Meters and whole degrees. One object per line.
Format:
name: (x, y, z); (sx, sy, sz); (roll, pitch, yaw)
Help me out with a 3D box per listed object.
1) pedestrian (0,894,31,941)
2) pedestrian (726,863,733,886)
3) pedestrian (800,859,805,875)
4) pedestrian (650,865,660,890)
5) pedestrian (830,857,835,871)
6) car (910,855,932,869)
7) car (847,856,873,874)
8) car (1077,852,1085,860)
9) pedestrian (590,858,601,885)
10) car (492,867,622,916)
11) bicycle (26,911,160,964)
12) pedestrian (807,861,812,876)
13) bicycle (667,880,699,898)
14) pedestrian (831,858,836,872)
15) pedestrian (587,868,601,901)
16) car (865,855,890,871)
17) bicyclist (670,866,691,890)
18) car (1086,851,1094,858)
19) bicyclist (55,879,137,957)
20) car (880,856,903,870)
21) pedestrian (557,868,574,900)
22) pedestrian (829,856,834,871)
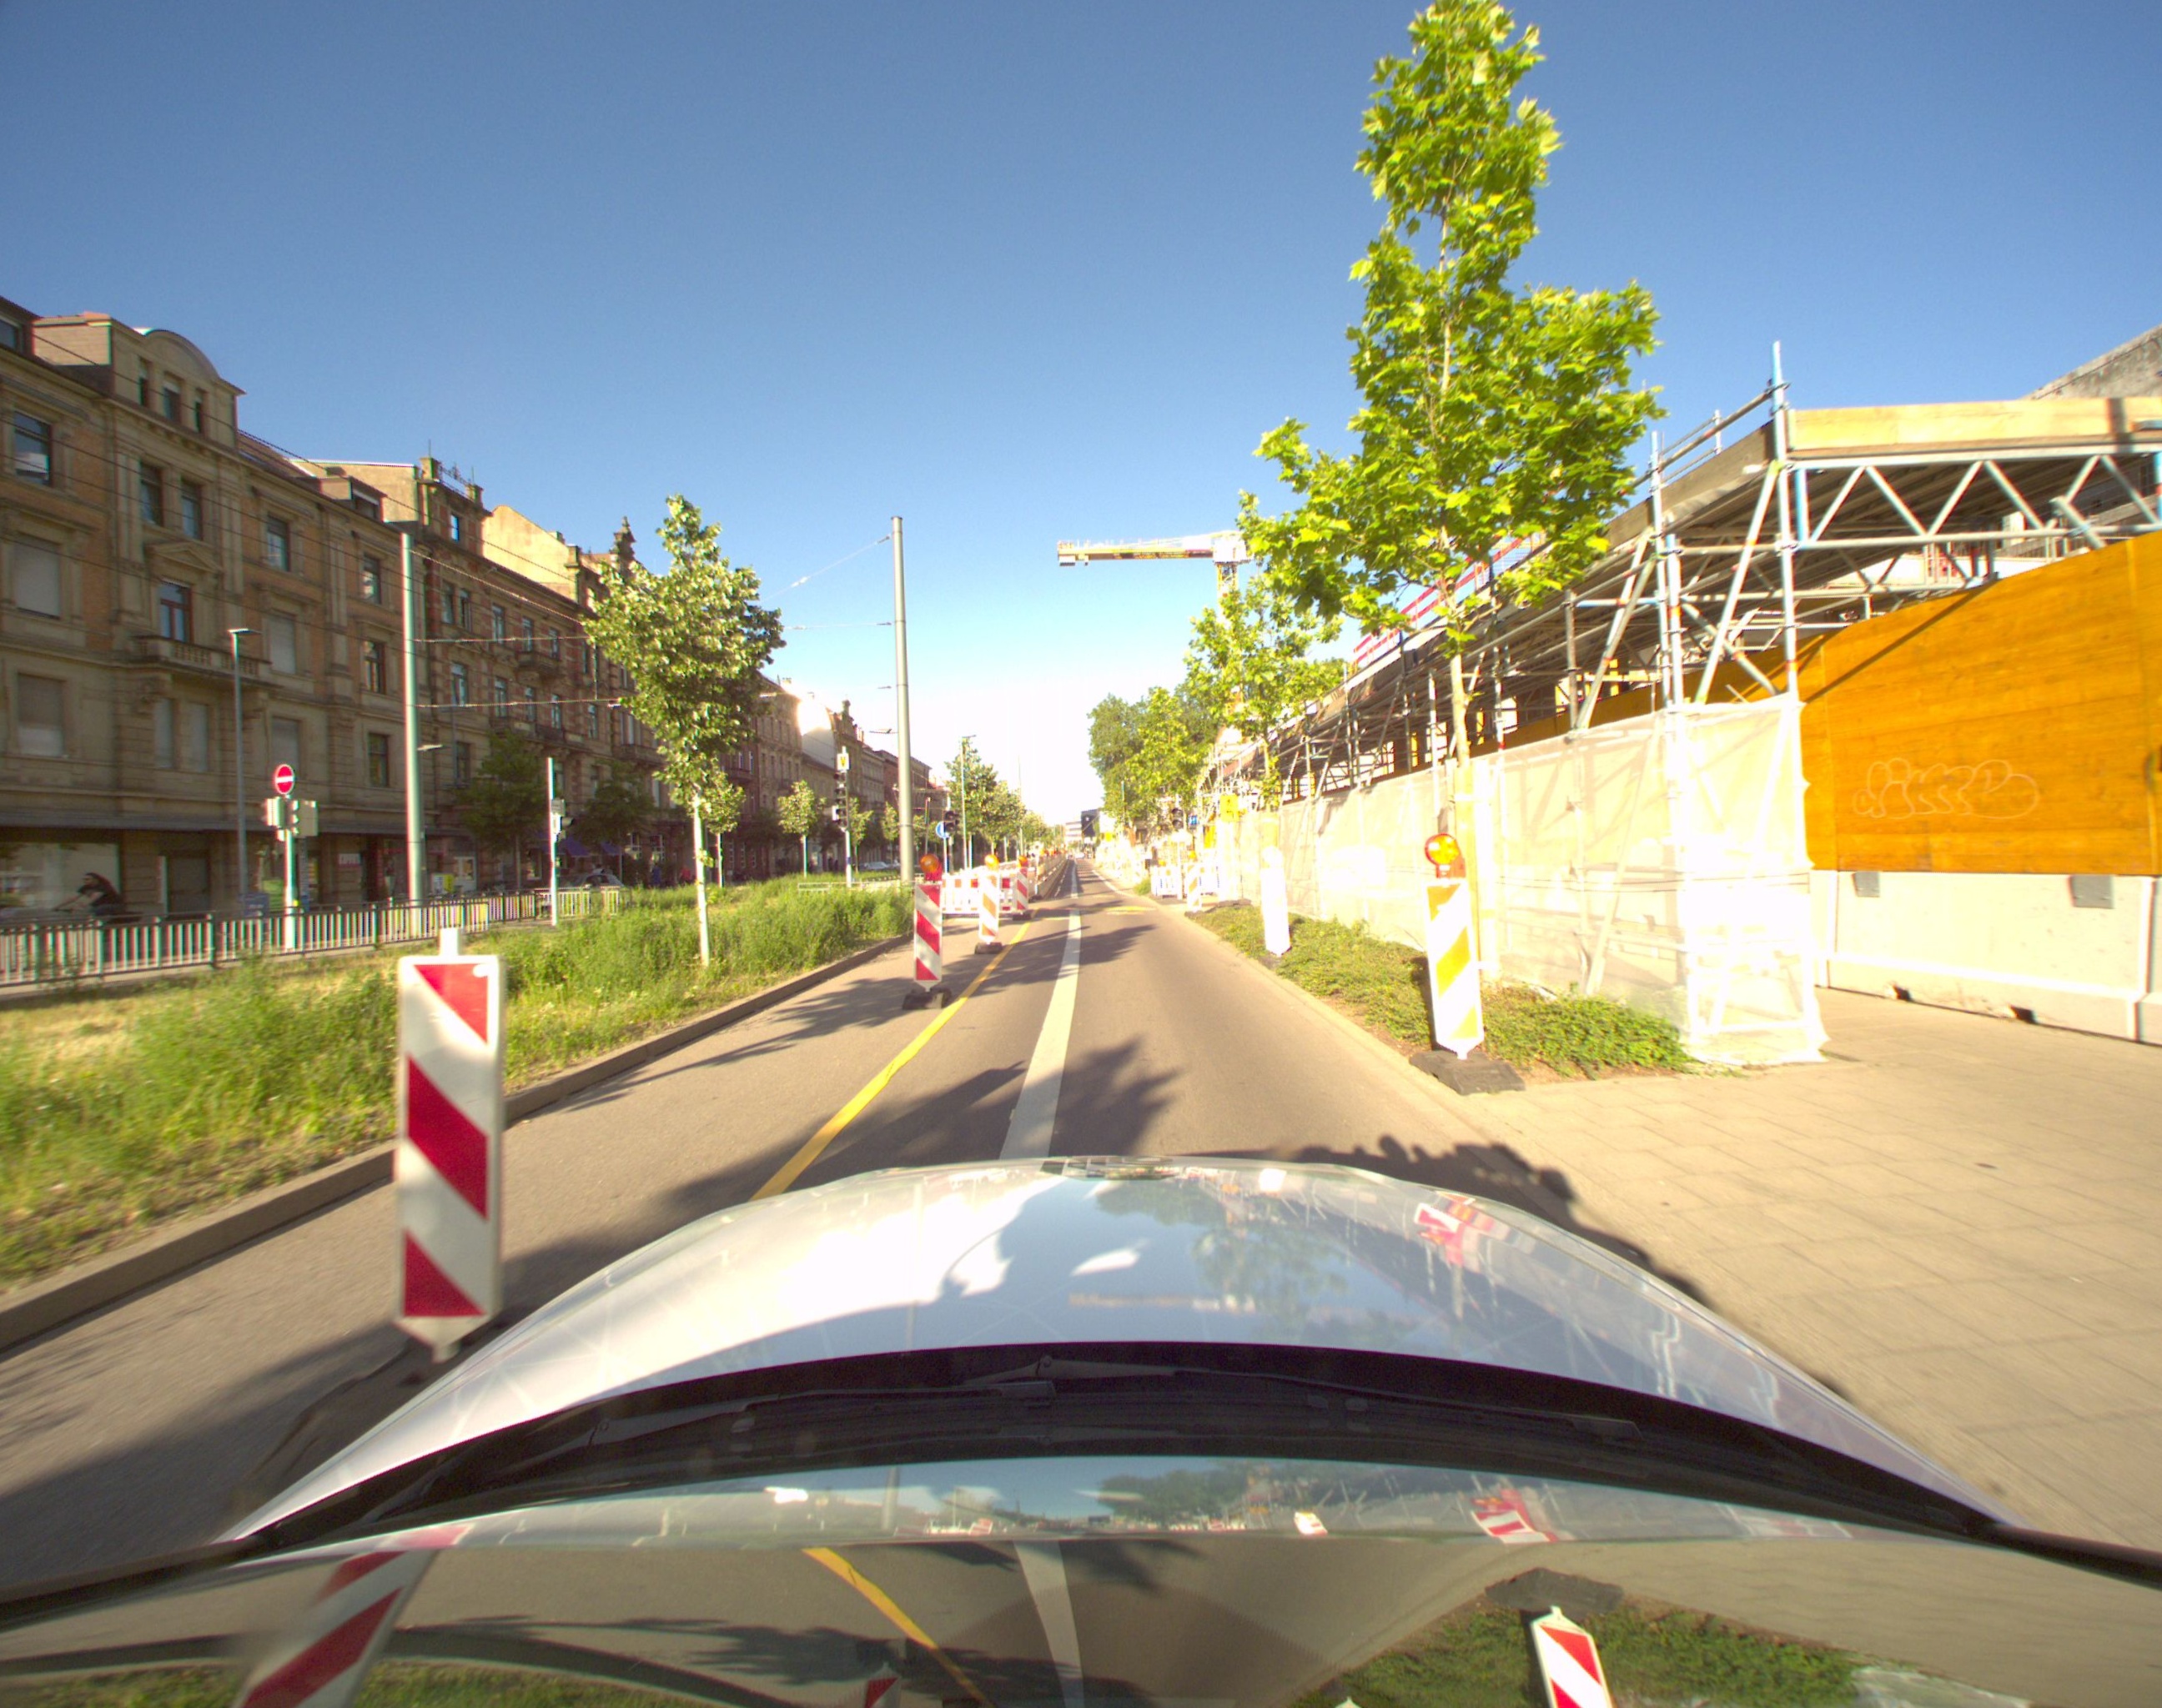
pedestrian: (-28.719, 1.699, 21.520); (0.688, 1.208, 0.929); (-2, 0, 1)
pedestrian: (-27.034, 1.593, 62.586); (0.365, 1.764, 0.406); (0, 0, -1)
pedestrian: (-28.076, 1.344, 82.097); (0.432, 1.585, 0.385); (0, 0, -3)
pedestrian: (-27.096, 1.490, 51.794); (0.402, 1.585, 0.425); (0, 0, -1)
pedestrian: (-27.170, 1.057, 89.049); (0.404, 1.532, 0.435); (0, 0, 0)
car: (-18.023, 0.868, 91.694); (1.589, 1.483, 3.624); (-2, 0, 1)
car: (-22.298, 1.065, 82.341); (1.561, 1.675, 3.808); (-2, 0, 0)
car: (0.077, 0.478, 193.931); (1.877, 1.842, 3.667); (-2, 0, -1)
pedestrian: (-29.641, 1.066, 49.710); (0.381, 1.585, 0.393); (0, 0, 30)
car: (-18.375, 1.258, 28.825); (1.846, 1.420, 4.070); (-3, 0, 1)
bicycle: (-21.902, 1.831, 18.112); (0.692, 0.978, 1.827); (-2, 0, 1)
pedestrian: (-27.339, 1.467, 82.047); (0.427, 1.585, 0.339); (0, 0, 1)
bicycle: (-20.809, 1.810, 42.620); (0.635, 0.857, 2.031); (-2, 0, 1)
pedestrian: (-28.219, 1.293, 92.977); (0.460, 1.585, 0.434); (0, 0, -7)
pedestrian: (-26.303, 1.627, 43.995); (0.506, 1.764, 0.406); (0, 0, -1)
car: (-22.328, 0.988, 89.541); (1.561, 1.562, 4.713); (-2, 0, 0)
bicyclist: (-20.813, 1.242, 42.327); (0.635, 1.239, 0.738); (-2, 0, 1)
car: (2.438, 0.156, 224.577); (1.877, 1.842, 3.667); (-2, 0, -1)
bicyclist: (-21.936, 1.407, 18.148); (0.693, 1.657, 0.882); (-2, 0, 0)
car: (-22.314, 1.027, 95.946); (1.562, 1.562, 4.713); (-2, 0, -1)
pedestrian: (-26.016, 1.492, 41.095); (0.485, 1.585, 0.533); (0, 0, 0)
pedestrian: (-27.268, 1.034, 89.081); (0.404, 1.534, 0.435); (0, 0, 0)
